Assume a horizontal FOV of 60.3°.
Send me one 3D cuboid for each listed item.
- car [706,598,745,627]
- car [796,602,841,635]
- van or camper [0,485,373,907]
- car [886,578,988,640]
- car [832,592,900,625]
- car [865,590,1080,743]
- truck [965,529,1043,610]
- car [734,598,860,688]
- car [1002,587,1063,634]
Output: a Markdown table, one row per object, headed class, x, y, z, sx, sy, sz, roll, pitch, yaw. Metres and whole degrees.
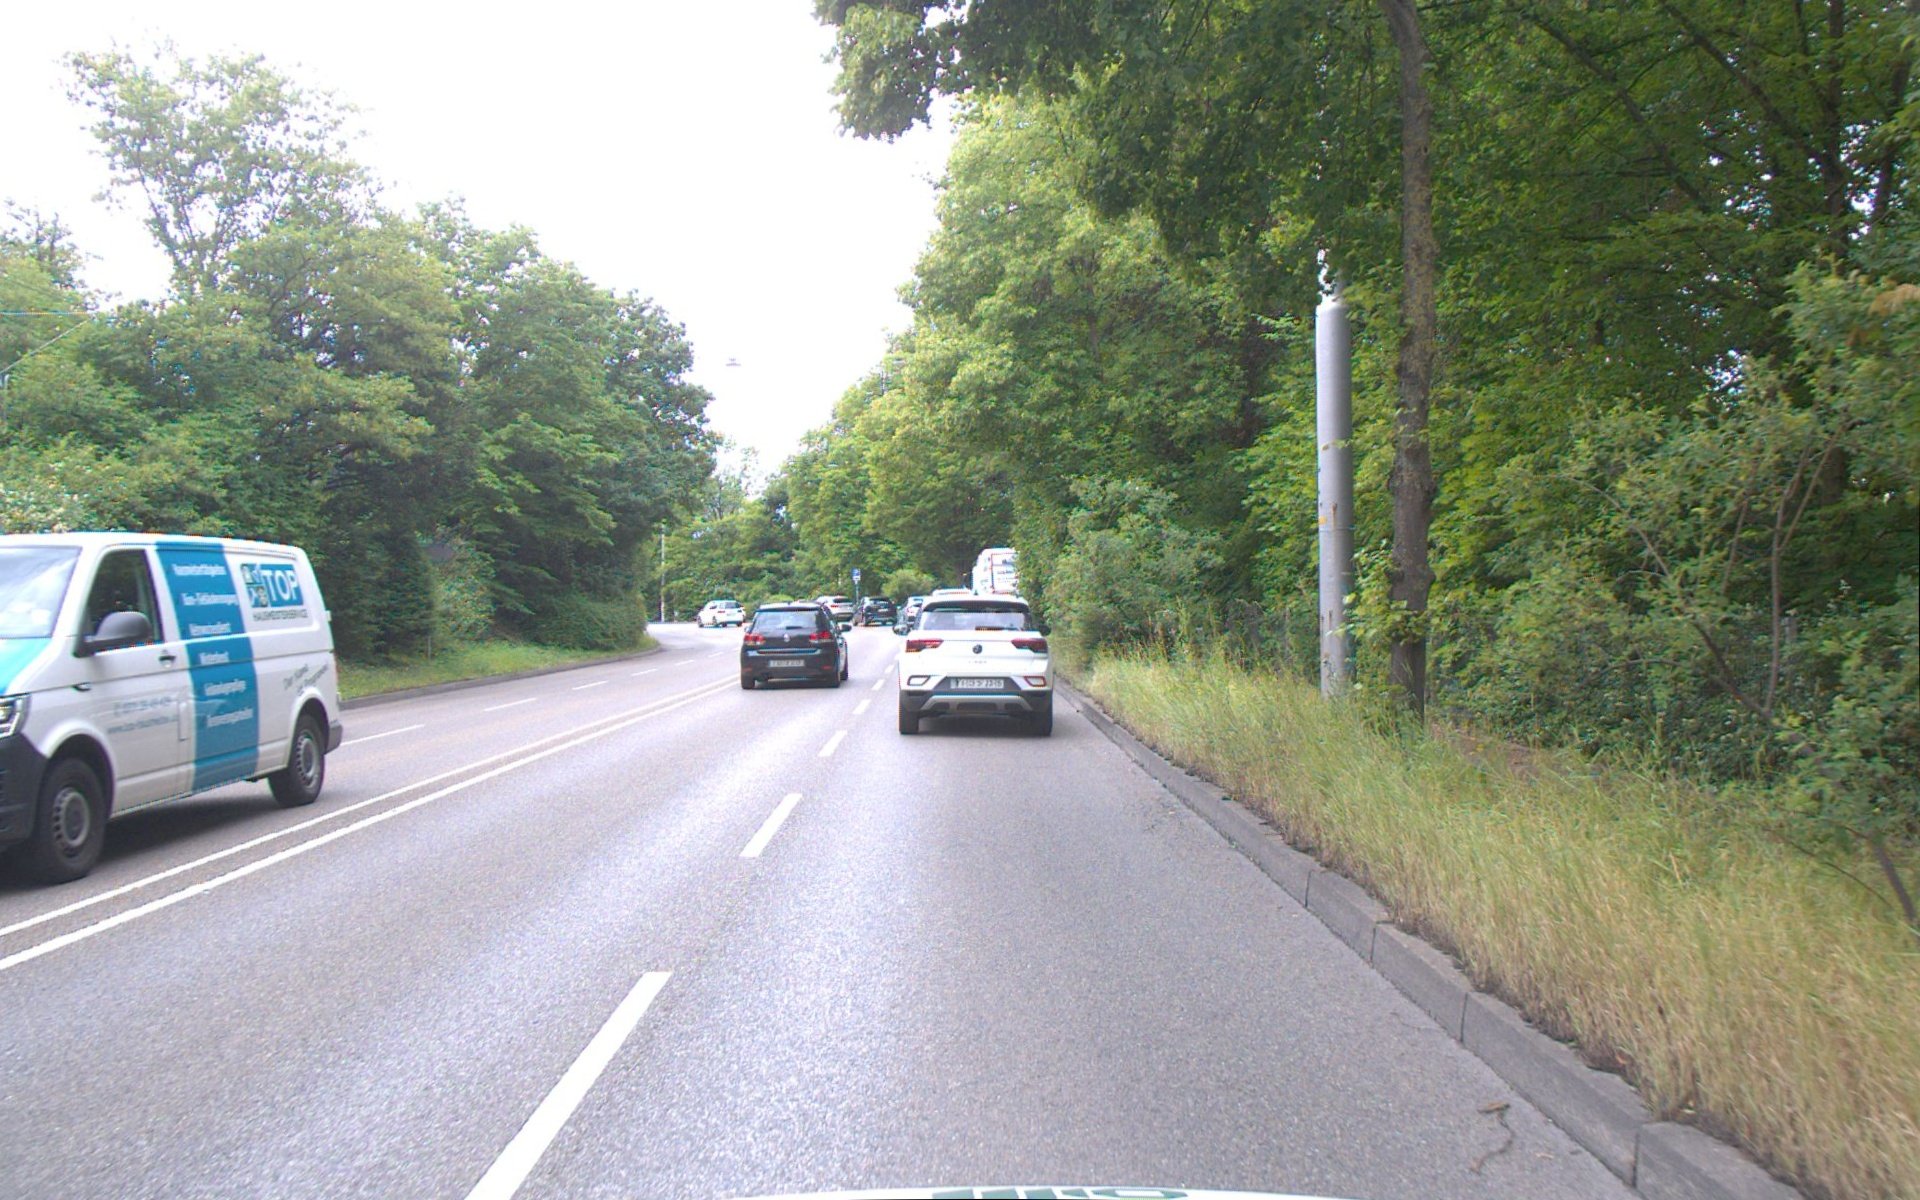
| class | x | y | z | sx | sy | sz | roll | pitch | yaw |
| --- | --- | --- | --- | --- | --- | --- | --- | --- | --- |
| car | -13.880 | 0.753 | 97.959 | 1.784 | 1.651 | 3.999 | 1 | -1 | -1 |
| car | -7.054 | 0.905 | 82.857 | 1.953 | 1.620 | 3.999 | 1 | 0 | -1 |
| van or camper | -5.701 | 0.540 | 10.668 | 1.954 | 2.048 | 5.366 | -4 | 0 | -2 |
| car | -0.757 | 0.261 | 51.501 | 1.826 | 1.732 | 3.973 | -3 | 1 | -22 |
| car | -4.778 | 0.419 | 83.636 | 1.750 | 1.635 | 3.954 | 1 | 0 | -33 |
| car | 0.033 | 0.720 | 19.683 | 1.963 | 1.624 | 3.992 | 1 | 0 | -8 |
| truck | 1.799 | -1.218 | 70.495 | 2.434 | 3.237 | 7.219 | 1 | 0 | -6 |
| car | -2.864 | 0.735 | 29.909 | 1.909 | 1.492 | 3.999 | 1 | 0 | -1 |
| car | 2.588 | 0.394 | 60.107 | 1.767 | 1.551 | 3.997 | -3 | 0 | -3 |
